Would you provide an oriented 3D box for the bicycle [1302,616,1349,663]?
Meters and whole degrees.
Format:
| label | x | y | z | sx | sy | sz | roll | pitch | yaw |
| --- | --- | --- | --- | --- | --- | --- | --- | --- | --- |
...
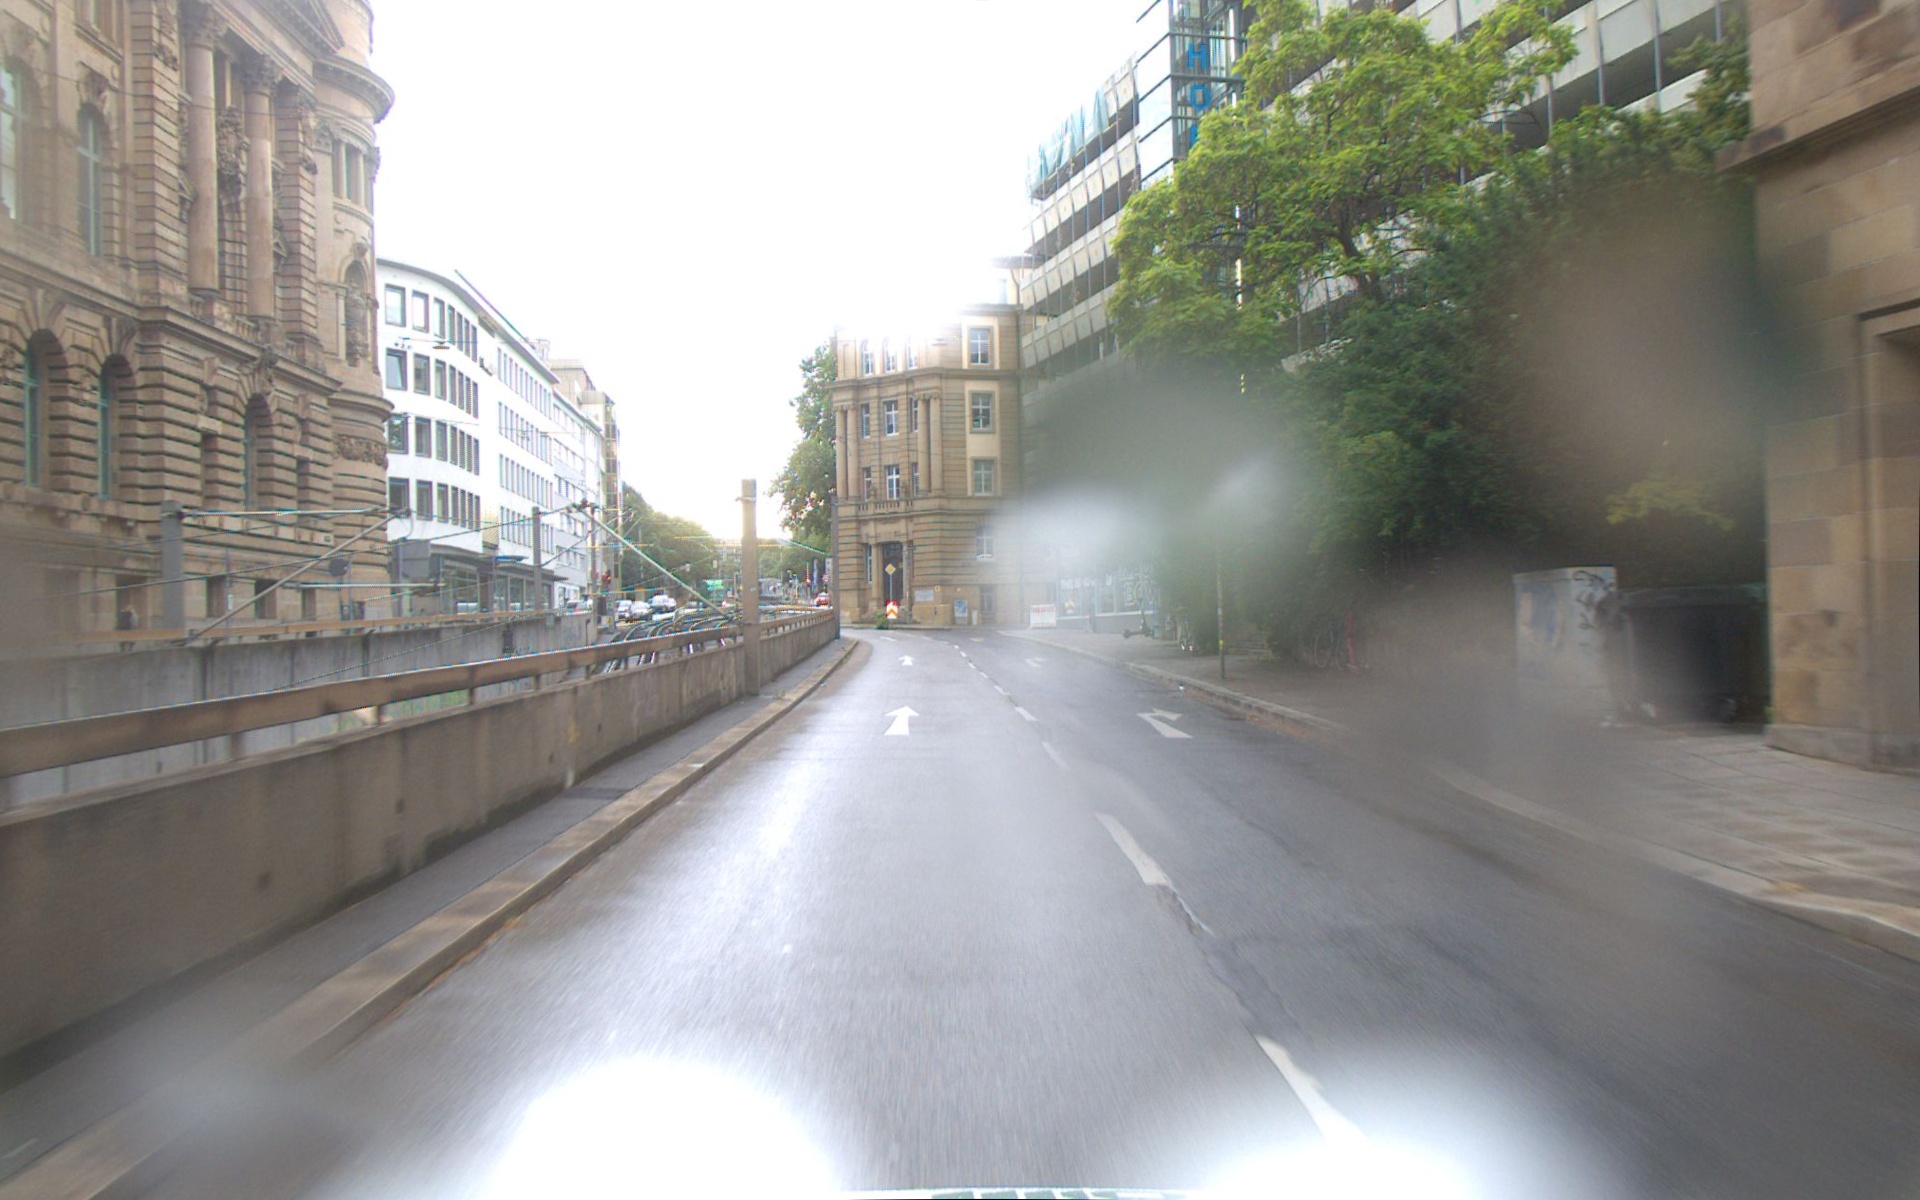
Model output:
| label | x | y | z | sx | sy | sz | roll | pitch | yaw |
| --- | --- | --- | --- | --- | --- | --- | --- | --- | --- |
| bicycle | 6.376 | 0.683 | 28.860 | 0.490 | 0.767 | 1.211 | -3 | 0 | -1 |

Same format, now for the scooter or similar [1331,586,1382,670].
| label | x | y | z | sx | sy | sz | roll | pitch | yaw |
| --- | --- | --- | --- | --- | --- | --- | --- | --- | --- |
| scooter or similar | 6.361 | 0.434 | 26.550 | 0.438 | 1.281 | 1.211 | -3 | 0 | -1 |

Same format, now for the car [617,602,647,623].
| label | x | y | z | sx | sy | sz | roll | pitch | yaw |
| --- | --- | --- | --- | --- | --- | --- | --- | --- | --- |
| car | -24.633 | 0.951 | 124.336 | 1.955 | 1.554 | 3.657 | 0 | 0 | -7 |

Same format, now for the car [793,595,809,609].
| label | x | y | z | sx | sy | sz | roll | pitch | yaw |
| --- | --- | --- | --- | --- | --- | --- | --- | --- | --- |
| car | -19.287 | 0.217 | 200.457 | 1.955 | 1.691 | 3.994 | 0 | 0 | -6 |

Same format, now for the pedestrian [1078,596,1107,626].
| label | x | y | z | sx | sy | sz | roll | pitch | yaw |
| --- | --- | --- | --- | --- | --- | --- | --- | --- | --- |
| pedestrian | 5.119 | 0.415 | 64.028 | 0.740 | 1.143 | 1.242 | 0 | 0 | -15 |

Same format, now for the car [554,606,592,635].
| label | x | y | z | sx | sy | sz | roll | pitch | yaw |
| --- | --- | --- | --- | --- | --- | --- | --- | --- | --- |
| car | -27.054 | 1.396 | 115.757 | 1.955 | 1.916 | 4.920 | 0 | 0 | -7 |

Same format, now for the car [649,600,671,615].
| label | x | y | z | sx | sy | sz | roll | pitch | yaw |
| --- | --- | --- | --- | --- | --- | --- | --- | --- | --- |
| car | -30.308 | 0.789 | 167.216 | 1.955 | 1.482 | 4.305 | 0 | 0 | -7 |

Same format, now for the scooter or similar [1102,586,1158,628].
| label | x | y | z | sx | sy | sz | roll | pitch | yaw |
| --- | --- | --- | --- | --- | --- | --- | --- | --- | --- |
| scooter or similar | 5.480 | 0.220 | 53.282 | 1.616 | 1.290 | 0.736 | -3 | 1 | -27 |

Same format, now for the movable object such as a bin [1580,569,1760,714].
| label | x | y | z | sx | sy | sz | roll | pitch | yaw |
| --- | --- | --- | --- | --- | --- | --- | --- | --- | --- |
| movable object such as a bin | 7.115 | 0.402 | 16.654 | 1.214 | 1.333 | 1.233 | -3 | 0 | -1 |

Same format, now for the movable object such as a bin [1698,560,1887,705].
| label | x | y | z | sx | sy | sz | roll | pitch | yaw |
| --- | --- | --- | --- | --- | --- | --- | --- | --- | --- |
| movable object such as a bin | 8.350 | 0.318 | 16.655 | 1.214 | 1.333 | 1.233 | -3 | 0 | -1 |
